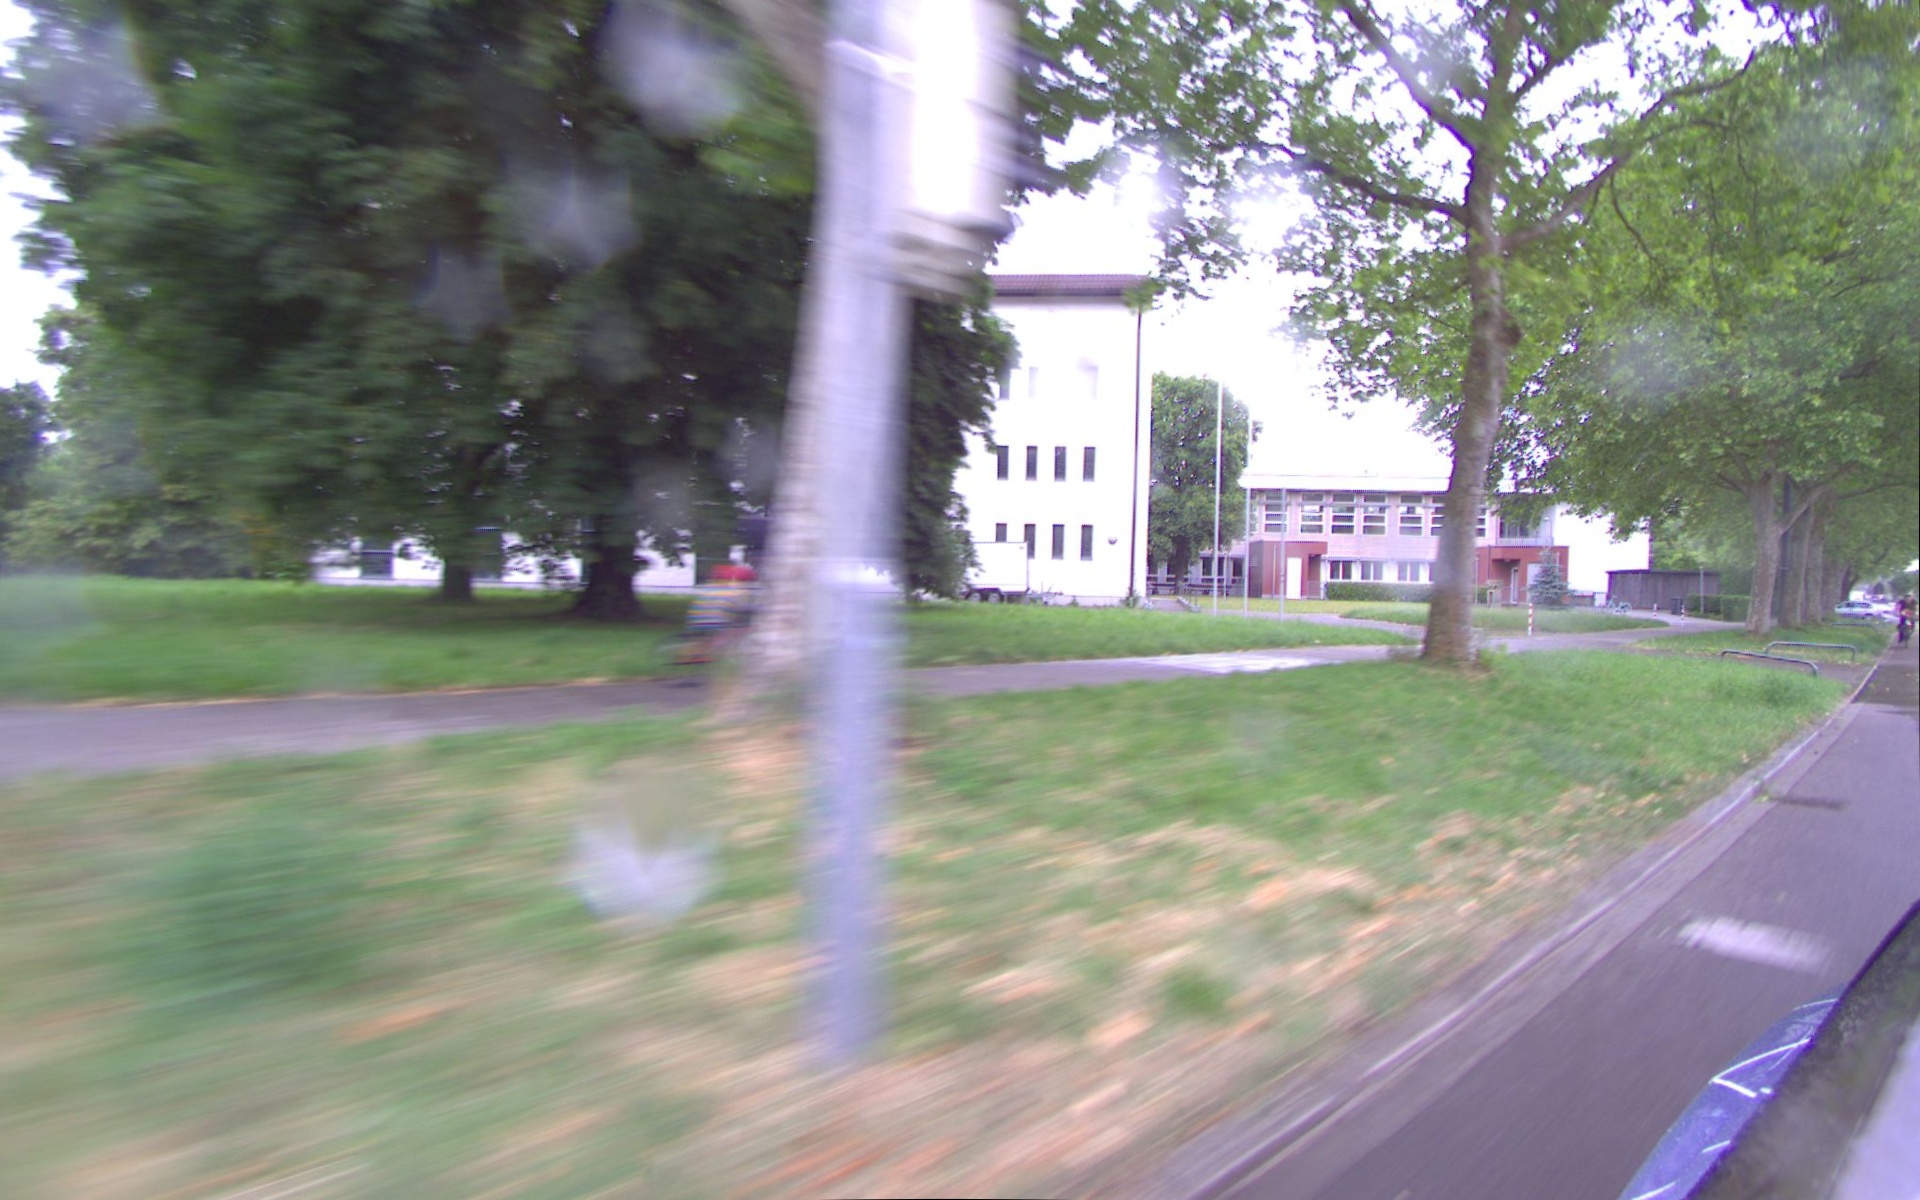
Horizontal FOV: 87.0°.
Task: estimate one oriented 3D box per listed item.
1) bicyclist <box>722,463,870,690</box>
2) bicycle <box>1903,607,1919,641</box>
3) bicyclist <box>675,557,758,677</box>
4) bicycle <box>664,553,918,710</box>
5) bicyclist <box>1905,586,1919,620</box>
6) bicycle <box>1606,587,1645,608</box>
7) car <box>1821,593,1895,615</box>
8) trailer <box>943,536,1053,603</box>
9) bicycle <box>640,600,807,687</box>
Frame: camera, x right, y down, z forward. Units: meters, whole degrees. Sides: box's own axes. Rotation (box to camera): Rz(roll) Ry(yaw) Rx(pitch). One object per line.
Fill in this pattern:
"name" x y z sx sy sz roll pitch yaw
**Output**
"bicyclist" -1.352 -0.188 8.333 0.939 1.742 0.713 1 1 -37
"bicycle" 31.168 0.774 32.912 0.658 1.026 2.221 2 2 45
"bicyclist" -2.224 0.140 9.249 0.581 1.051 0.488 0 2 -40
"bicycle" -1.355 0.226 8.344 1.935 1.157 0.713 1 1 -37
"bicyclist" 31.080 0.092 32.794 0.614 1.098 0.620 0 2 -45
"bicycle" 38.908 -0.171 59.194 1.900 1.135 0.522 2 3 -2
"car" 70.360 0.279 79.366 3.975 1.505 1.625 2 2 25
"trailer" 1.466 -1.135 37.791 3.950 2.337 1.890 2 1 6
"bicycle" -2.156 0.375 9.314 1.432 0.717 0.488 0 2 -40
